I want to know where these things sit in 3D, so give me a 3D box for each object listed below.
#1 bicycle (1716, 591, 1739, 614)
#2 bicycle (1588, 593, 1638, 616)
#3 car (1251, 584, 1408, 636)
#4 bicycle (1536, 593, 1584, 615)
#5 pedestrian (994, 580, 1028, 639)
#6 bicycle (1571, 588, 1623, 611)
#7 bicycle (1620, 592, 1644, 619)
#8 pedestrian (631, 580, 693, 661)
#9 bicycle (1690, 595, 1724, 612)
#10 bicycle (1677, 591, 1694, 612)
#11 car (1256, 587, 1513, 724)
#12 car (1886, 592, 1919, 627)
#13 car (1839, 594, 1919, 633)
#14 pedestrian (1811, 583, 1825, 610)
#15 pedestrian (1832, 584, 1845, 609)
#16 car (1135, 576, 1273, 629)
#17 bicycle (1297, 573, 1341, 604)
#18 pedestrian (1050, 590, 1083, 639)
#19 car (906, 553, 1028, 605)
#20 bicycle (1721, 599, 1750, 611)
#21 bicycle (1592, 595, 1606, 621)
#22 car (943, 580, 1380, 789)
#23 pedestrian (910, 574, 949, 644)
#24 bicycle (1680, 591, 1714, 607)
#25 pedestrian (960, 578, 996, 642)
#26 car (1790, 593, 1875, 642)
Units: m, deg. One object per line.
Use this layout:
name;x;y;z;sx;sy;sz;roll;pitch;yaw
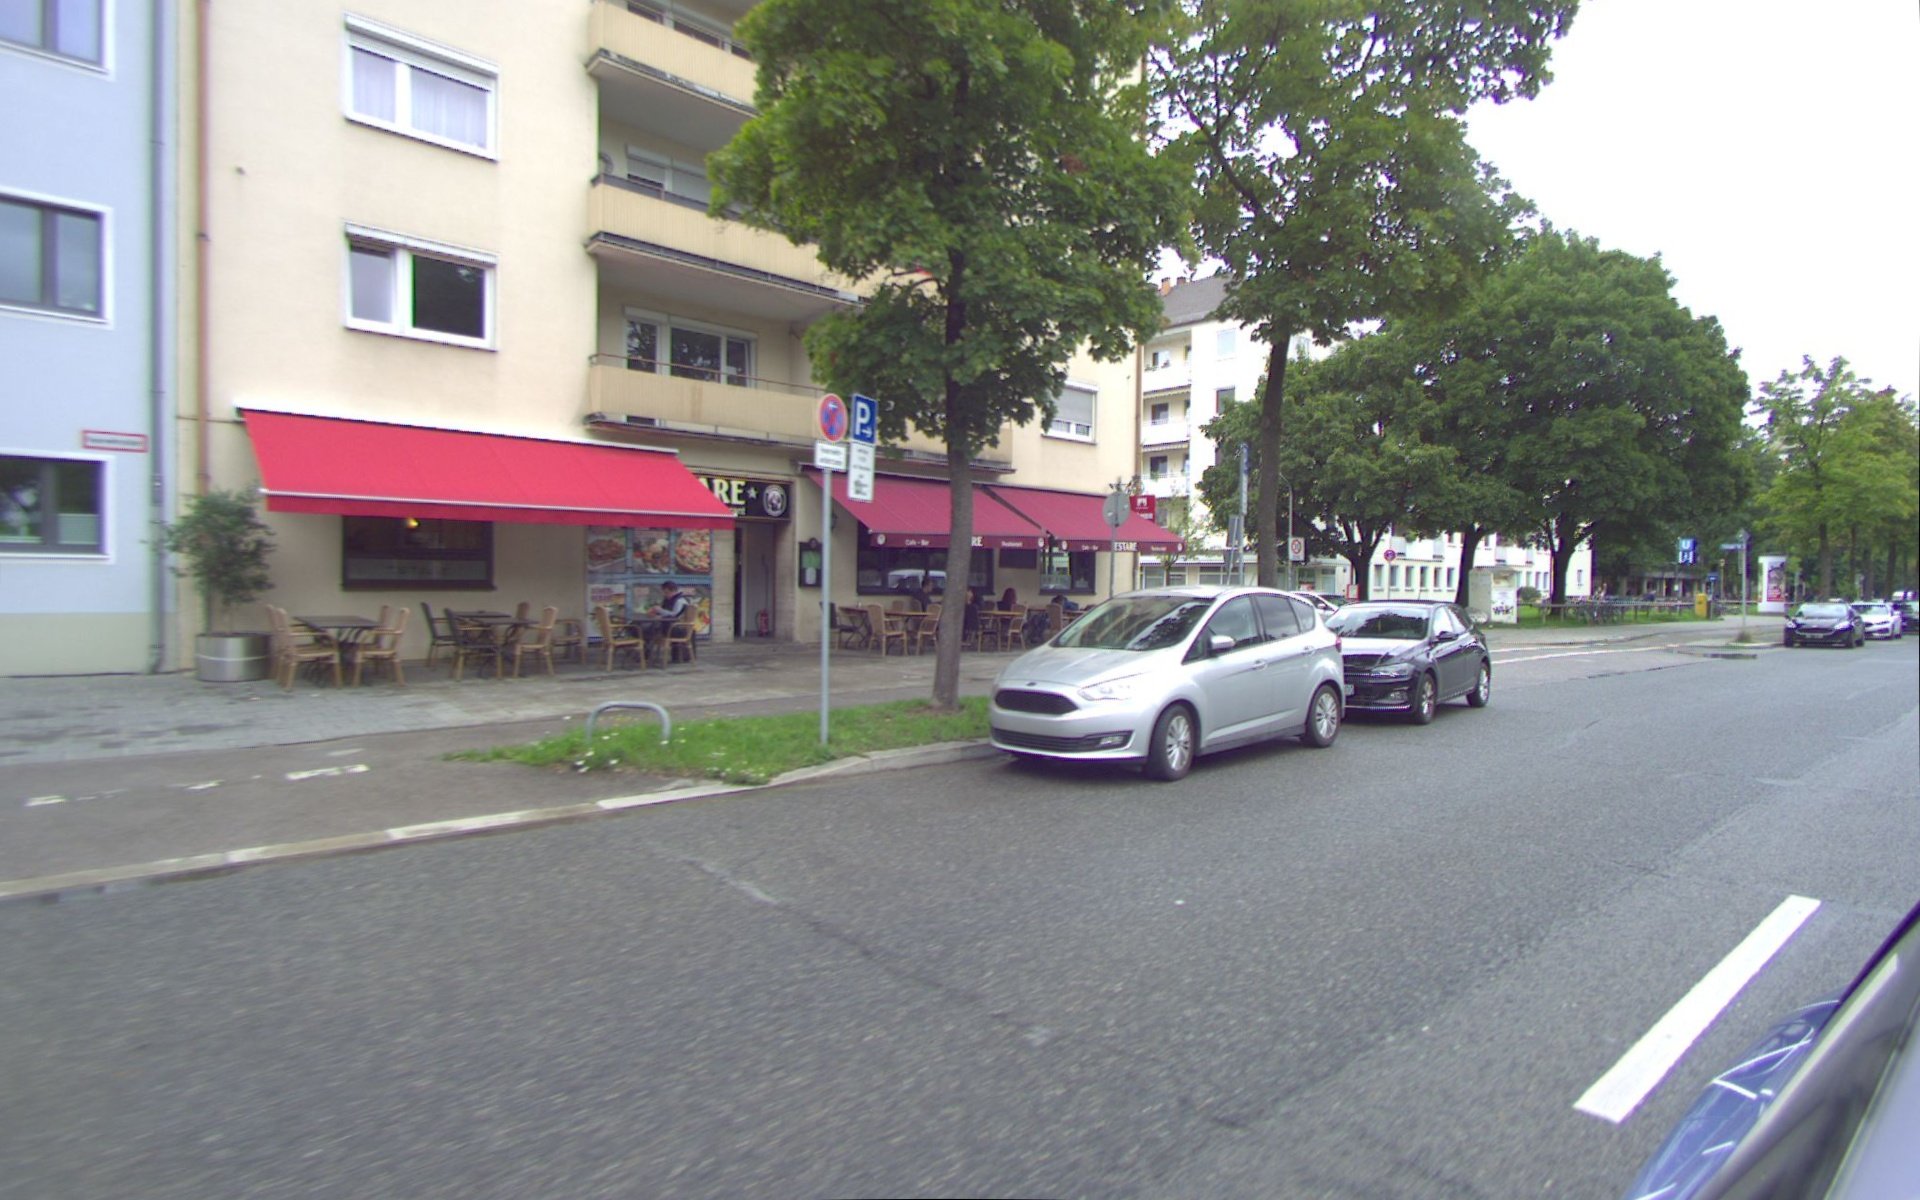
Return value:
bicycle;40.568;0.121;53.499;2.039;1.203;0.545;0;1;-41
bicycle;32.489;0.199;50.373;0.653;1.081;2.027;0;1;-45
car;11.428;0.257;31.503;1.963;1.460;4.220;0;1;-37
bicycle;30.794;0.186;51.965;0.653;1.081;2.027;0;1;-45
pedestrian;1.075;0.195;21.364;0.478;1.229;0.539;0;1;-41
bicycle;30.349;-0.031;48.232;0.653;1.081;2.027;0;1;-45
bicycle;28.554;0.215;42.985;0.469;1.068;1.740;4;4;44
pedestrian;-4.572;0.294;15.508;0.635;1.177;0.745;0;3;-41
bicycle;45.648;0.210;61.864;0.490;0.927;1.596;0;2;-45
bicycle;40.083;0.087;55.906;1.231;1.130;0.466;0;1;-41
car;5.618;0.597;13.174;1.830;1.491;3.826;1;1;44
car;43.409;0.407;45.784;4.085;1.530;1.824;0;1;-41
car;35.900;0.504;39.483;4.212;1.455;1.824;0;-1;-41
pedestrian;56.334;-0.225;66.461;0.555;1.777;0.651;1;0;30
pedestrian;57.139;-0.245;65.820;0.555;1.625;0.515;1;0;30
car;7.587;0.036;31.705;1.701;1.538;3.931;0;1;-42
bicycle;14.173;-0.460;39.947;0.687;1.170;1.471;0;1;-42
pedestrian;2.332;0.308;22.252;0.478;1.067;0.539;0;1;-41
car;0.191;-0.837;39.792;1.966;1.909;4.991;0;1;-42
bicycle;49.484;0.312;64.592;0.490;0.722;1.389;0;3;-45
bicycle;25.543;0.305;40.460;0.446;1.028;1.831;1;1;33
car;2.102;0.599;9.666;4.446;1.541;1.832;0;1;-43
pedestrian;-0.595;0.162;19.983;0.543;1.356;0.539;0;1;-42
bicycle;43.948;-0.072;60.349;0.490;0.927;1.595;0;1;-45
pedestrian;0.370;0.186;20.696;0.478;1.284;0.539;0;1;-42
car;28.169;0.528;32.621;3.889;1.496;1.646;0;0;-43
